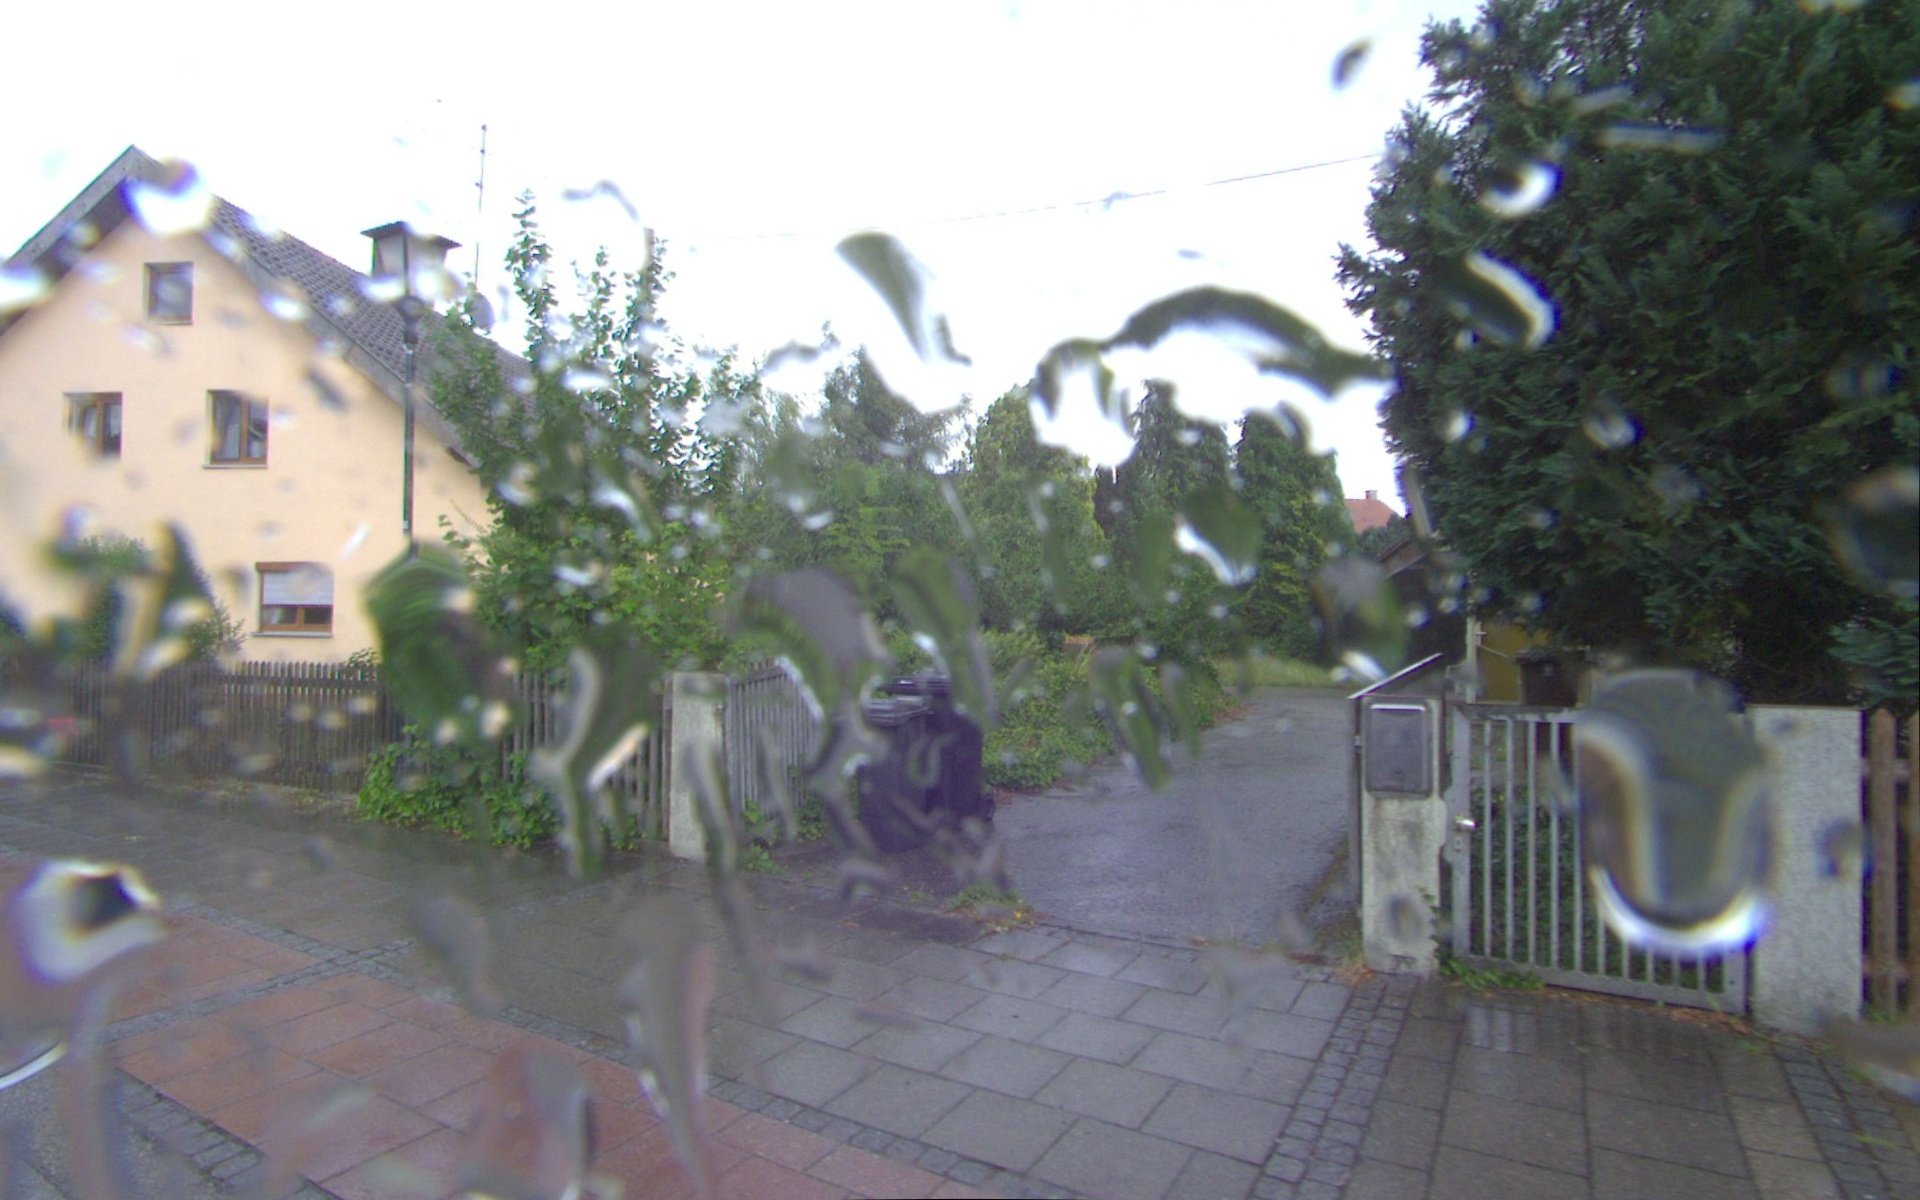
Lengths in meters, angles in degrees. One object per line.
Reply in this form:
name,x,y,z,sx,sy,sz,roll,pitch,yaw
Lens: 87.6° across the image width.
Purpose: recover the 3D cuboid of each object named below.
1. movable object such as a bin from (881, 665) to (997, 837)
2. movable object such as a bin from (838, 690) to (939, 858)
movable object such as a bin,-0.139,0.994,6.792,0.545,1.054,0.574,-1,1,33
movable object such as a bin,-0.444,1.062,6.258,0.440,0.948,0.432,-1,1,33
